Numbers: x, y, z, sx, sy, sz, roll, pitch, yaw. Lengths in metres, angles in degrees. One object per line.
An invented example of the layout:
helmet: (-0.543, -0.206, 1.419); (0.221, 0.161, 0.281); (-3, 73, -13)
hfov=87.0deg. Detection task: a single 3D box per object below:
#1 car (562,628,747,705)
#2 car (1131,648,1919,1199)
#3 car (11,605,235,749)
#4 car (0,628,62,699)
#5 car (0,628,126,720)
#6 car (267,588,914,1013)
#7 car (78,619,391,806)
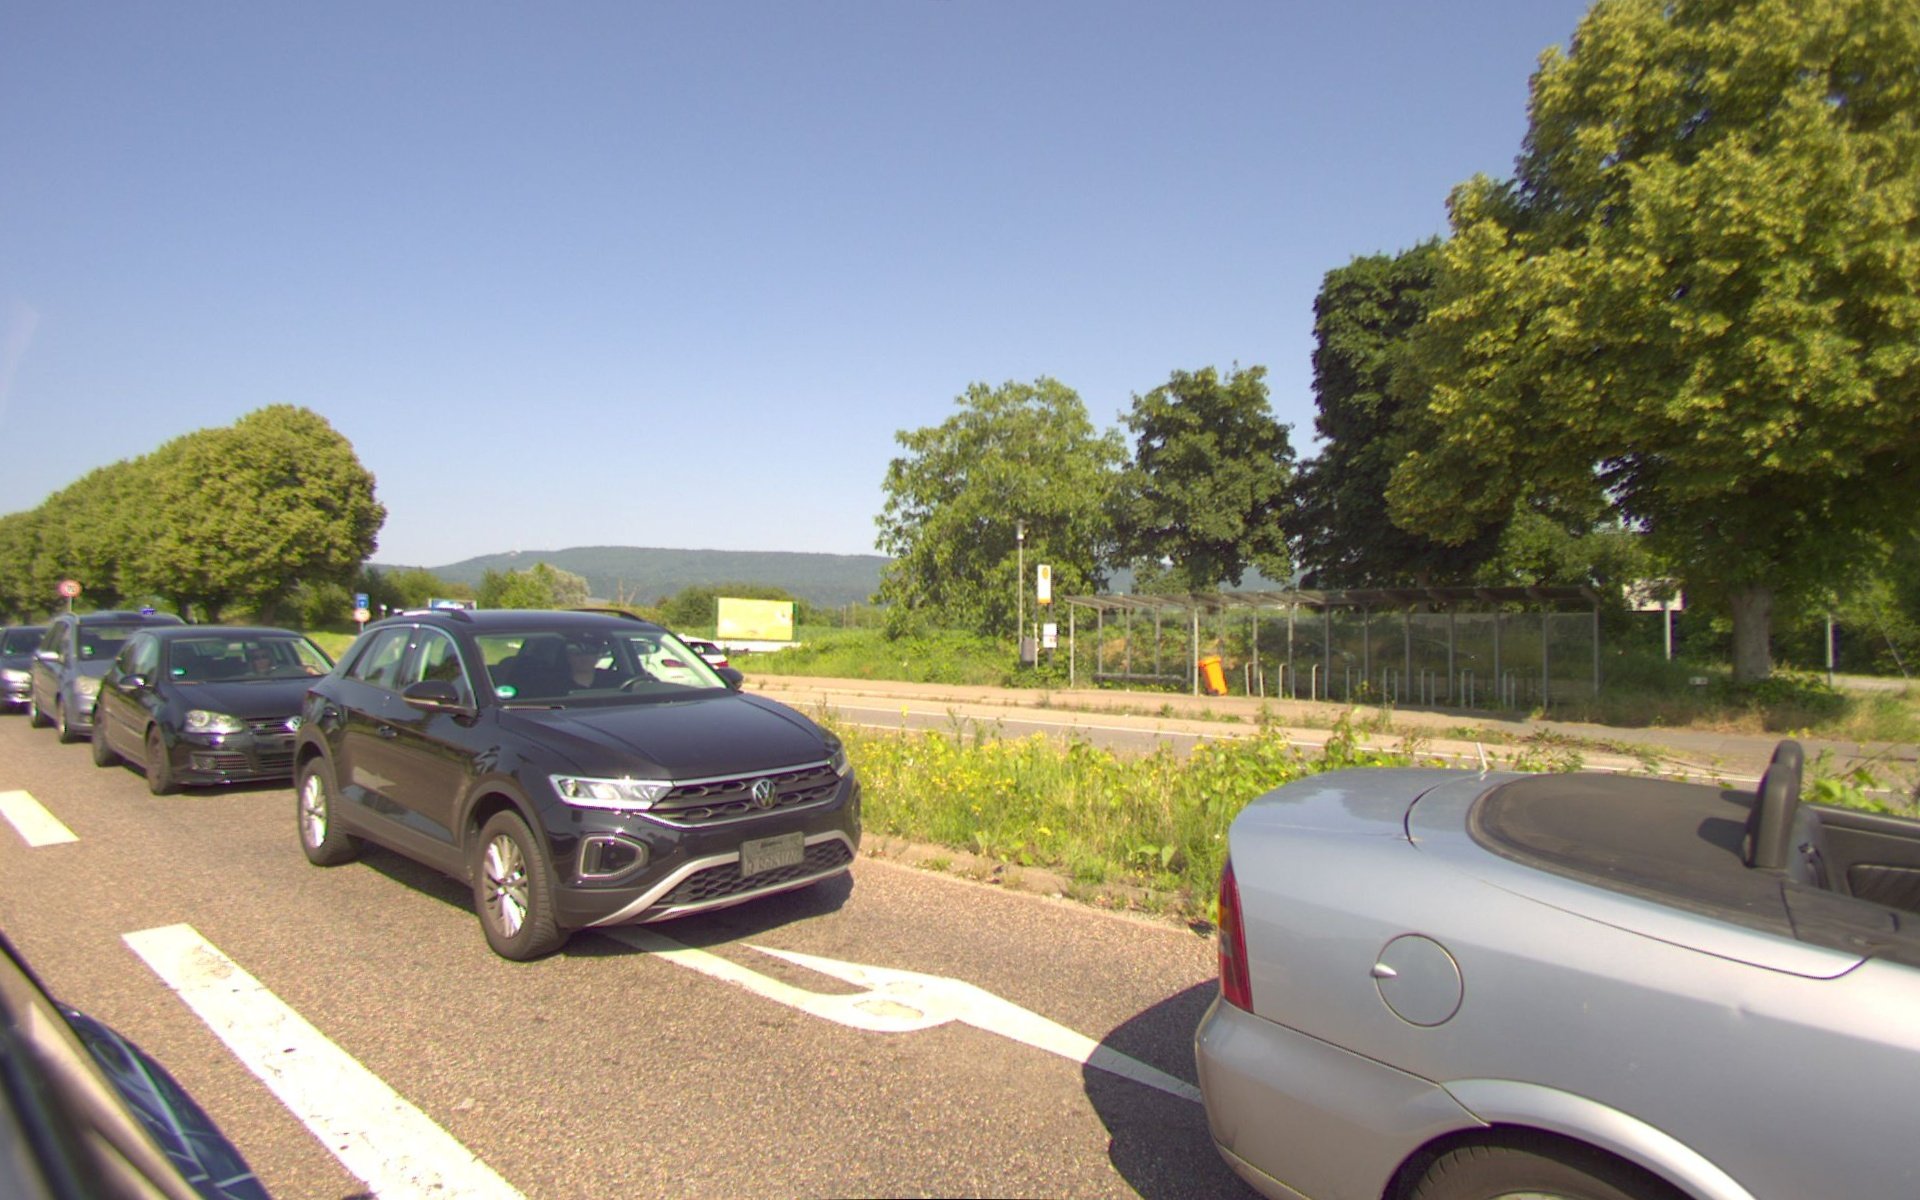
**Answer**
car: (-6.815, 1.441, 22.389); (4.143, 1.527, 1.864); (-1, -5, 39)
car: (2.430, 0.771, 1.380); (4.096, 1.345, 1.656); (-1, -3, 42)
car: (-11.585, 0.952, 13.899); (4.355, 1.685, 1.723); (-2, -2, 42)
car: (-21.373, 1.353, 22.305); (4.639, 1.436, 1.784); (-1, -1, 41)
car: (-16.161, 1.202, 17.751); (4.353, 1.421, 1.696); (-1, -2, 42)
car: (-2.323, 0.792, 5.744); (4.096, 1.559, 1.710); (-2, -2, 42)
car: (-7.294, 0.947, 10.022); (4.096, 1.486, 1.648); (-2, -2, 42)
